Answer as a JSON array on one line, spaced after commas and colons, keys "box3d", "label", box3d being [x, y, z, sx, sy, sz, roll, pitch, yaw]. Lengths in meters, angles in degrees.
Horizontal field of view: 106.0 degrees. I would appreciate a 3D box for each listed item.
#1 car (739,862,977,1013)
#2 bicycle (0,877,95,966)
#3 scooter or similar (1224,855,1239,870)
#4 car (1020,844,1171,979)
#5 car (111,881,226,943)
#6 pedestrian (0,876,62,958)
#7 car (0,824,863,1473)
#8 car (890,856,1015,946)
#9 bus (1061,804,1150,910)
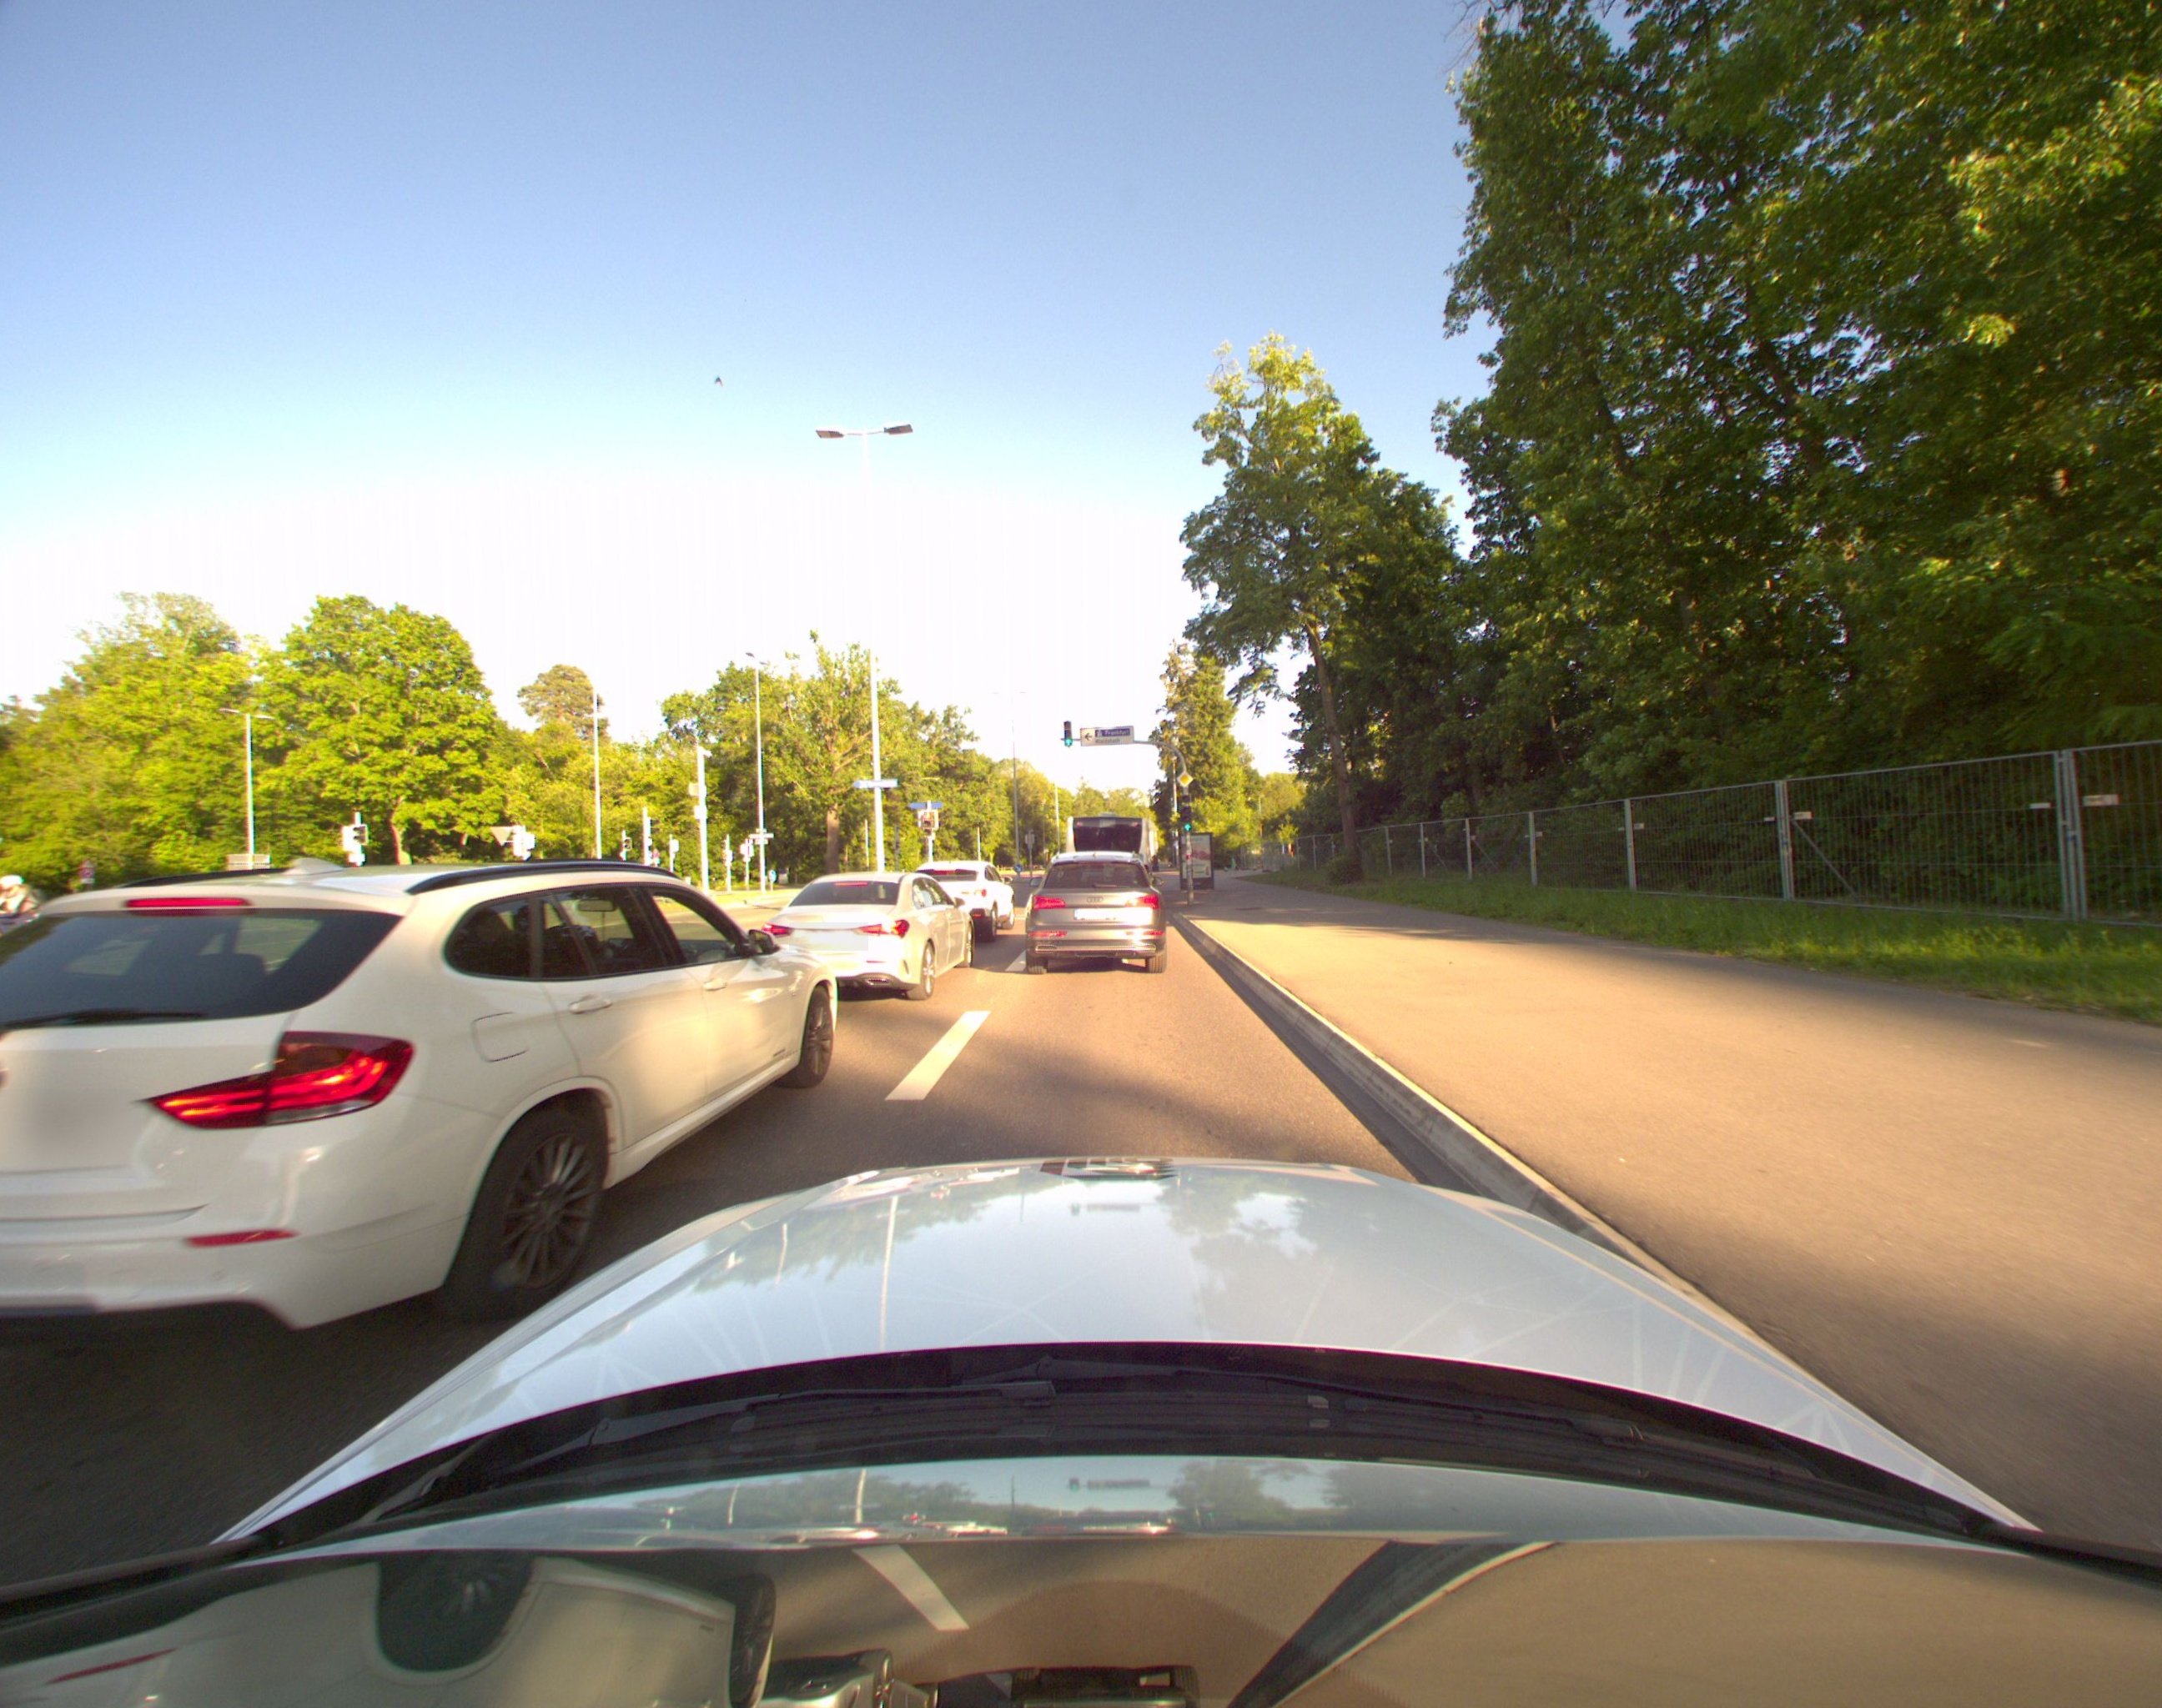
[{"box3d": [-2.507, 0.860, 10.316, 1.779, 1.444, 4.278, 0, 0, 1], "label": "car"}, {"box3d": [-21.763, 1.355, 16.713, 0.613, 1.750, 1.993, 0, -1, 0], "label": "bicycle"}, {"box3d": [12.268, 0.682, 66.567, 1.175, 1.174, 0.661, 0, 0, 13], "label": "scooter or similar"}, {"box3d": [0.234, 0.691, 12.037, 1.861, 1.664, 4.001, 0, 0, 1], "label": "car"}, {"box3d": [-27.601, 1.676, 24.606, 3.948, 1.618, 2.013, -1, -1, 38], "label": "car"}, {"box3d": [-21.774, 1.276, 16.706, 0.693, 1.626, 0.789, 0, -1, 1], "label": "pedestrian"}, {"box3d": [-2.643, 0.721, 4.215, 1.712, 1.581, 4.435, 0, 0, 1], "label": "car"}, {"box3d": [-2.463, 0.842, 16.585, 1.801, 1.572, 4.001, 0, 0, 1], "label": "car"}, {"box3d": [0.878, 0.069, 27.177, 2.668, 3.142, 5.886, 0, 0, 3], "label": "bus"}]
